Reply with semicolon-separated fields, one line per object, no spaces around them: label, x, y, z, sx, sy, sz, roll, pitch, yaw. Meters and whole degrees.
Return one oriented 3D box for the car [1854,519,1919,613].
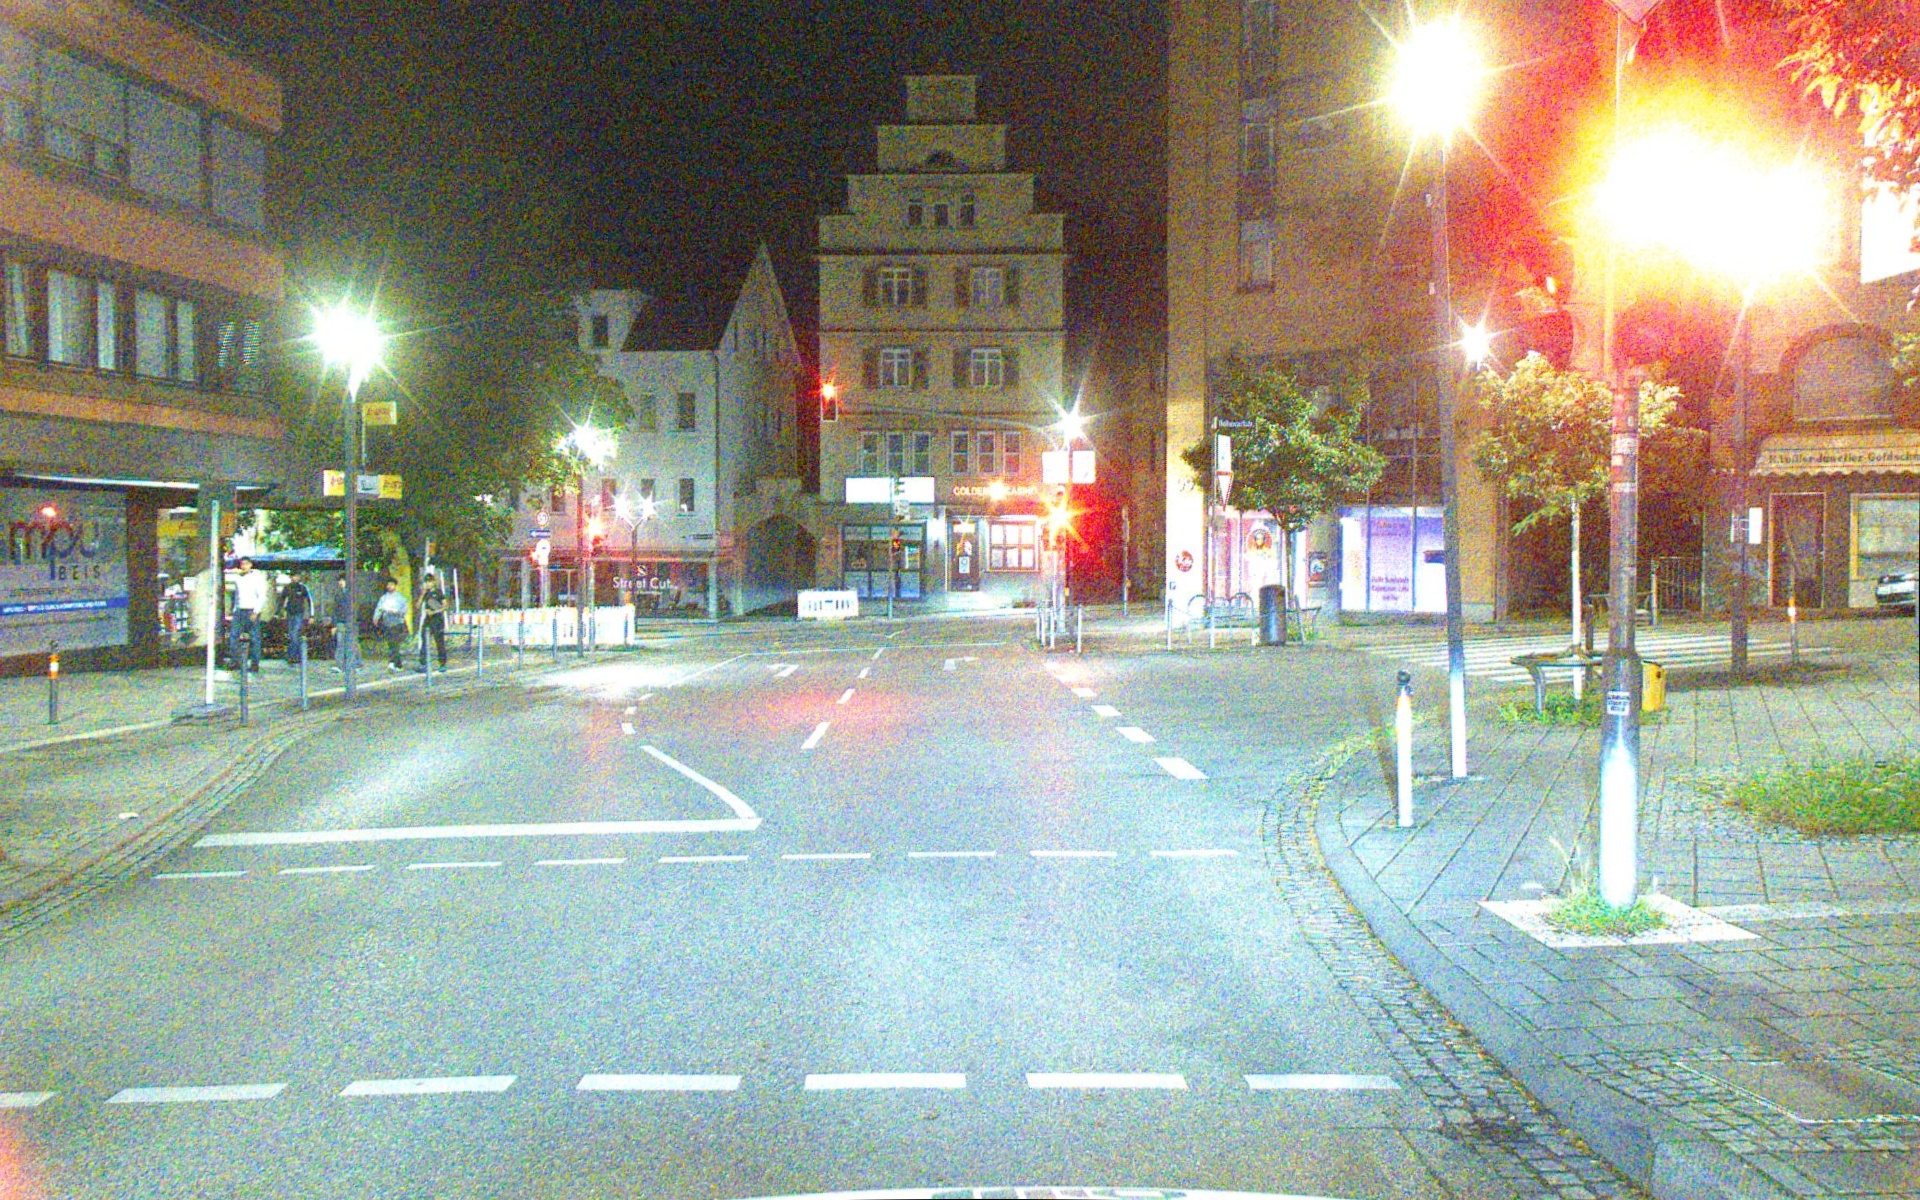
car;17.152;-0.653;27.092;3.956;1.478;1.827;-3;1;6

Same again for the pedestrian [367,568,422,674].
pedestrian;-9.901;0.371;28.969;0.701;1.827;0.570;1;-1;6

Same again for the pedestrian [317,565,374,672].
pedestrian;-10.677;0.322;28.740;0.701;1.827;0.570;1;-1;6

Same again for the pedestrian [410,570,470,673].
pedestrian;-9.323;0.385;29.668;0.701;1.827;0.737;0;-2;21

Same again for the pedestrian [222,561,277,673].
pedestrian;-11.803;0.290;27.480;0.703;1.827;0.567;1;-2;-13

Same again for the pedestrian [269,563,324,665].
pedestrian;-12.070;0.250;30.111;0.701;1.827;0.570;1;-1;6
